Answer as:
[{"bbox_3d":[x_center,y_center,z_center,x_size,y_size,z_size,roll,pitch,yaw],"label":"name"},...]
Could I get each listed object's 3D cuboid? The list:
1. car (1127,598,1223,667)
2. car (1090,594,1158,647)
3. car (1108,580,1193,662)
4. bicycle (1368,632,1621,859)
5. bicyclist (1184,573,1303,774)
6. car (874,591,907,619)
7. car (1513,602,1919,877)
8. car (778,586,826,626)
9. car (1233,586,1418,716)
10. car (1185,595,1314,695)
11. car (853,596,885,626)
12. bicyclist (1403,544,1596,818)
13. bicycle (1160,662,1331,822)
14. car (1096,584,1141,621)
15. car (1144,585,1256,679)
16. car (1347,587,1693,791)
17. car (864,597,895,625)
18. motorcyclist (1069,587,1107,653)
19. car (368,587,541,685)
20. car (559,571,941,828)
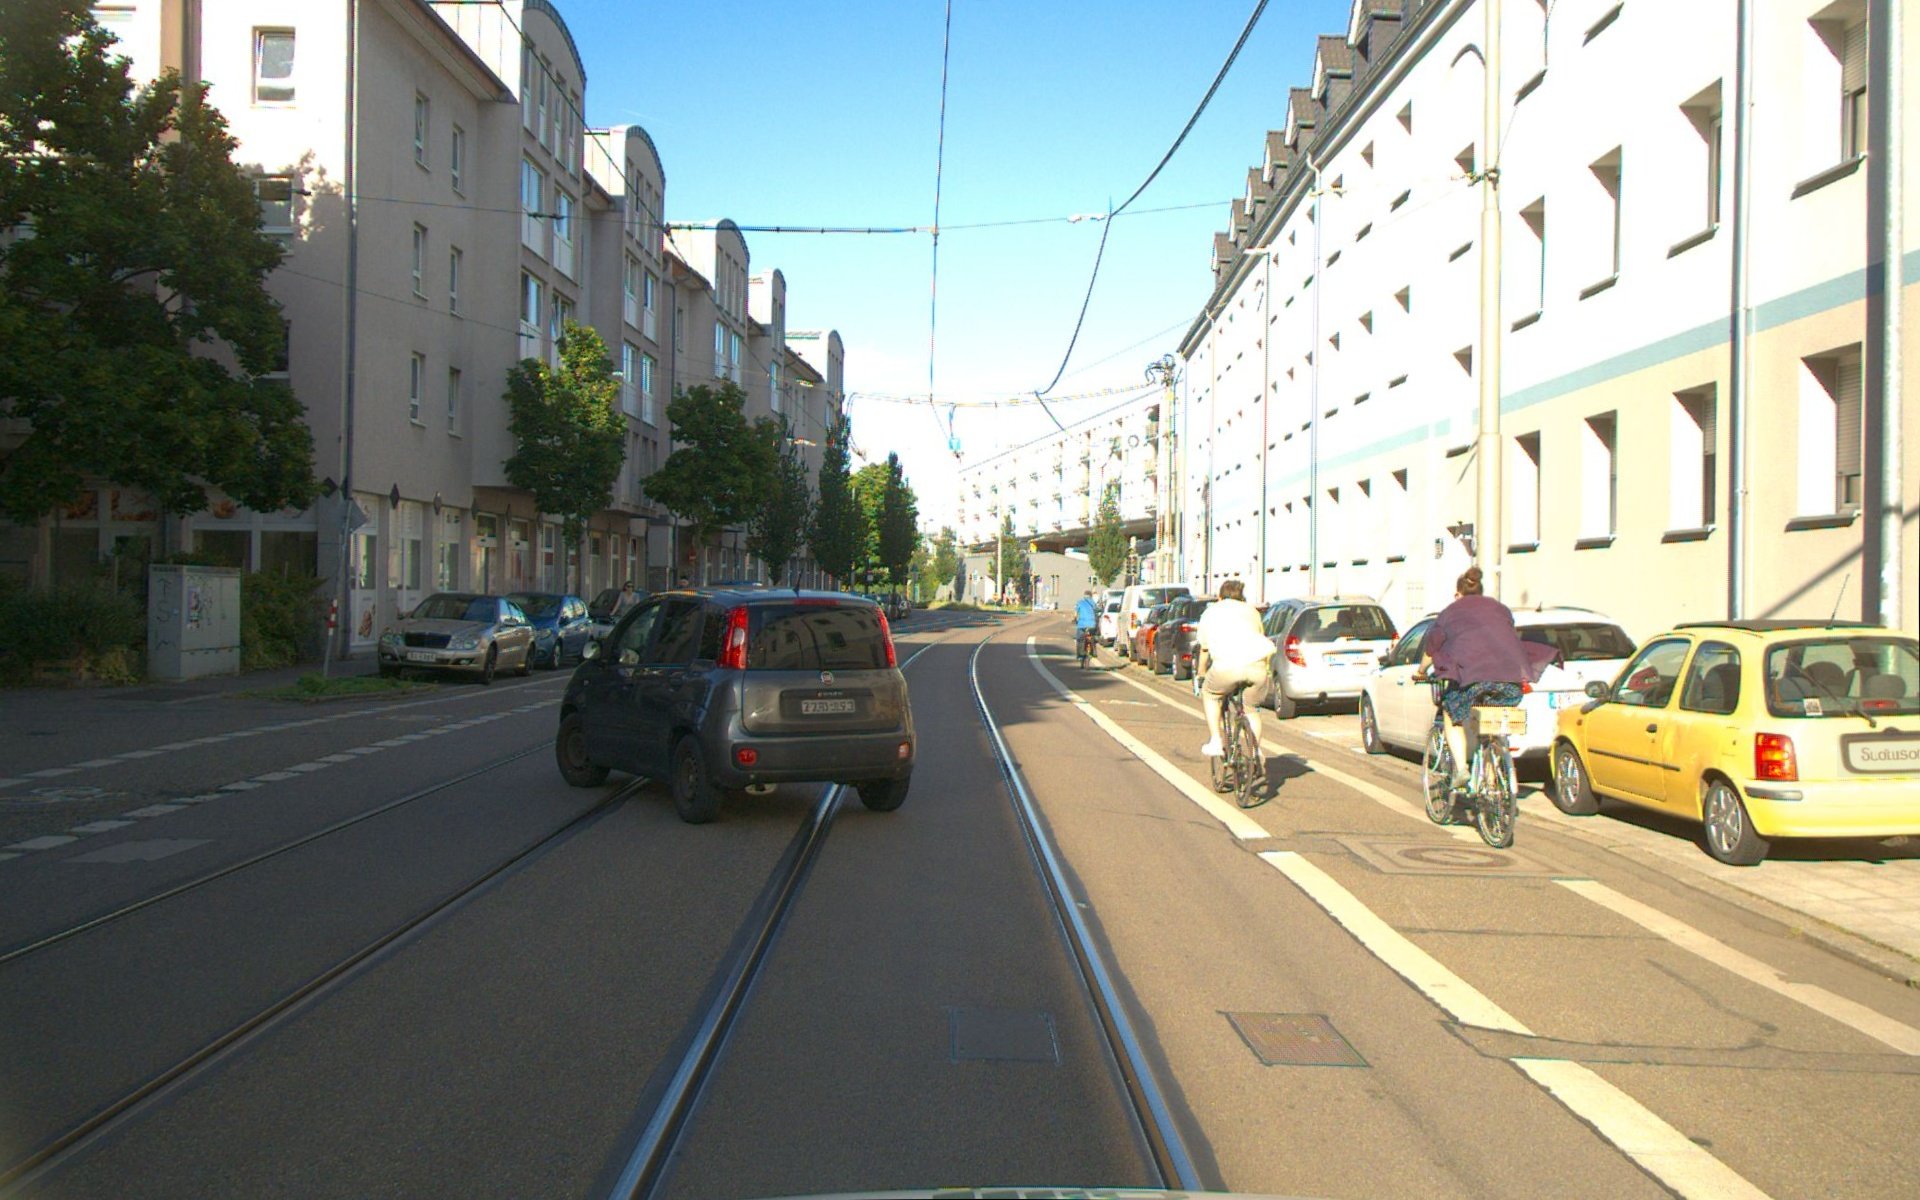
[{"bbox_3d":[4.978,0.718,38.654,1.759,1.509,3.778,1,0,0],"label":"car"},{"bbox_3d":[5.385,0.650,54.847,1.806,1.674,4.548,1,0,0],"label":"car"},{"bbox_3d":[4.946,0.508,43.329,1.750,2.005,4.155,-1,0,1],"label":"car"},{"bbox_3d":[3.485,0.892,11.073,0.804,1.258,2.461,2,0,-1],"label":"bicycle"},{"bbox_3d":[2.172,0.543,12.781,0.713,1.487,1.020,1,0,-2],"label":"bicyclist"},{"bbox_3d":[-4.243,0.306,101.314,1.806,1.674,3.697,1,0,0],"label":"car"},{"bbox_3d":[5.215,0.763,11.152,1.483,1.456,4.200,0,0,-1],"label":"car"},{"bbox_3d":[-6.864,0.245,72.060,1.630,1.646,4.001,1,0,1],"label":"car"},{"bbox_3d":[5.038,0.646,23.277,1.718,1.598,3.904,-3,0,1],"label":"car"},{"bbox_3d":[4.939,0.720,28.649,1.559,1.564,4.007,-2,0,1],"label":"car"},{"bbox_3d":[-4.970,0.581,90.683,1.559,1.567,3.191,1,0,0],"label":"car"},{"bbox_3d":[3.498,0.503,10.806,0.915,1.705,0.969,1,0,-2],"label":"bicyclist"},{"bbox_3d":[2.155,1.040,12.896,0.723,0.941,2.835,4,0,-1],"label":"bicycle"},{"bbox_3d":[7.934,0.114,83.087,1.806,1.786,4.548,1,0,0],"label":"car"},{"bbox_3d":[4.787,0.598,33.479,1.626,1.699,3.904,-3,0,0],"label":"car"},{"bbox_3d":[5.011,0.699,15.485,1.645,1.598,4.509,-1,0,-1],"label":"car"},{"bbox_3d":[-4.599,0.597,94.751,1.559,1.567,3.191,1,0,0],"label":"car"},{"bbox_3d":[2.829,0.435,36.624,0.713,1.430,1.020,1,0,-2],"label":"motorcyclist"},{"bbox_3d":[-8.525,0.561,28.235,1.709,1.468,3.999,3,0,-1],"label":"car"},{"bbox_3d":[-1.648,0.624,11.964,1.540,1.560,3.450,0,-1,-30],"label":"car"}]
